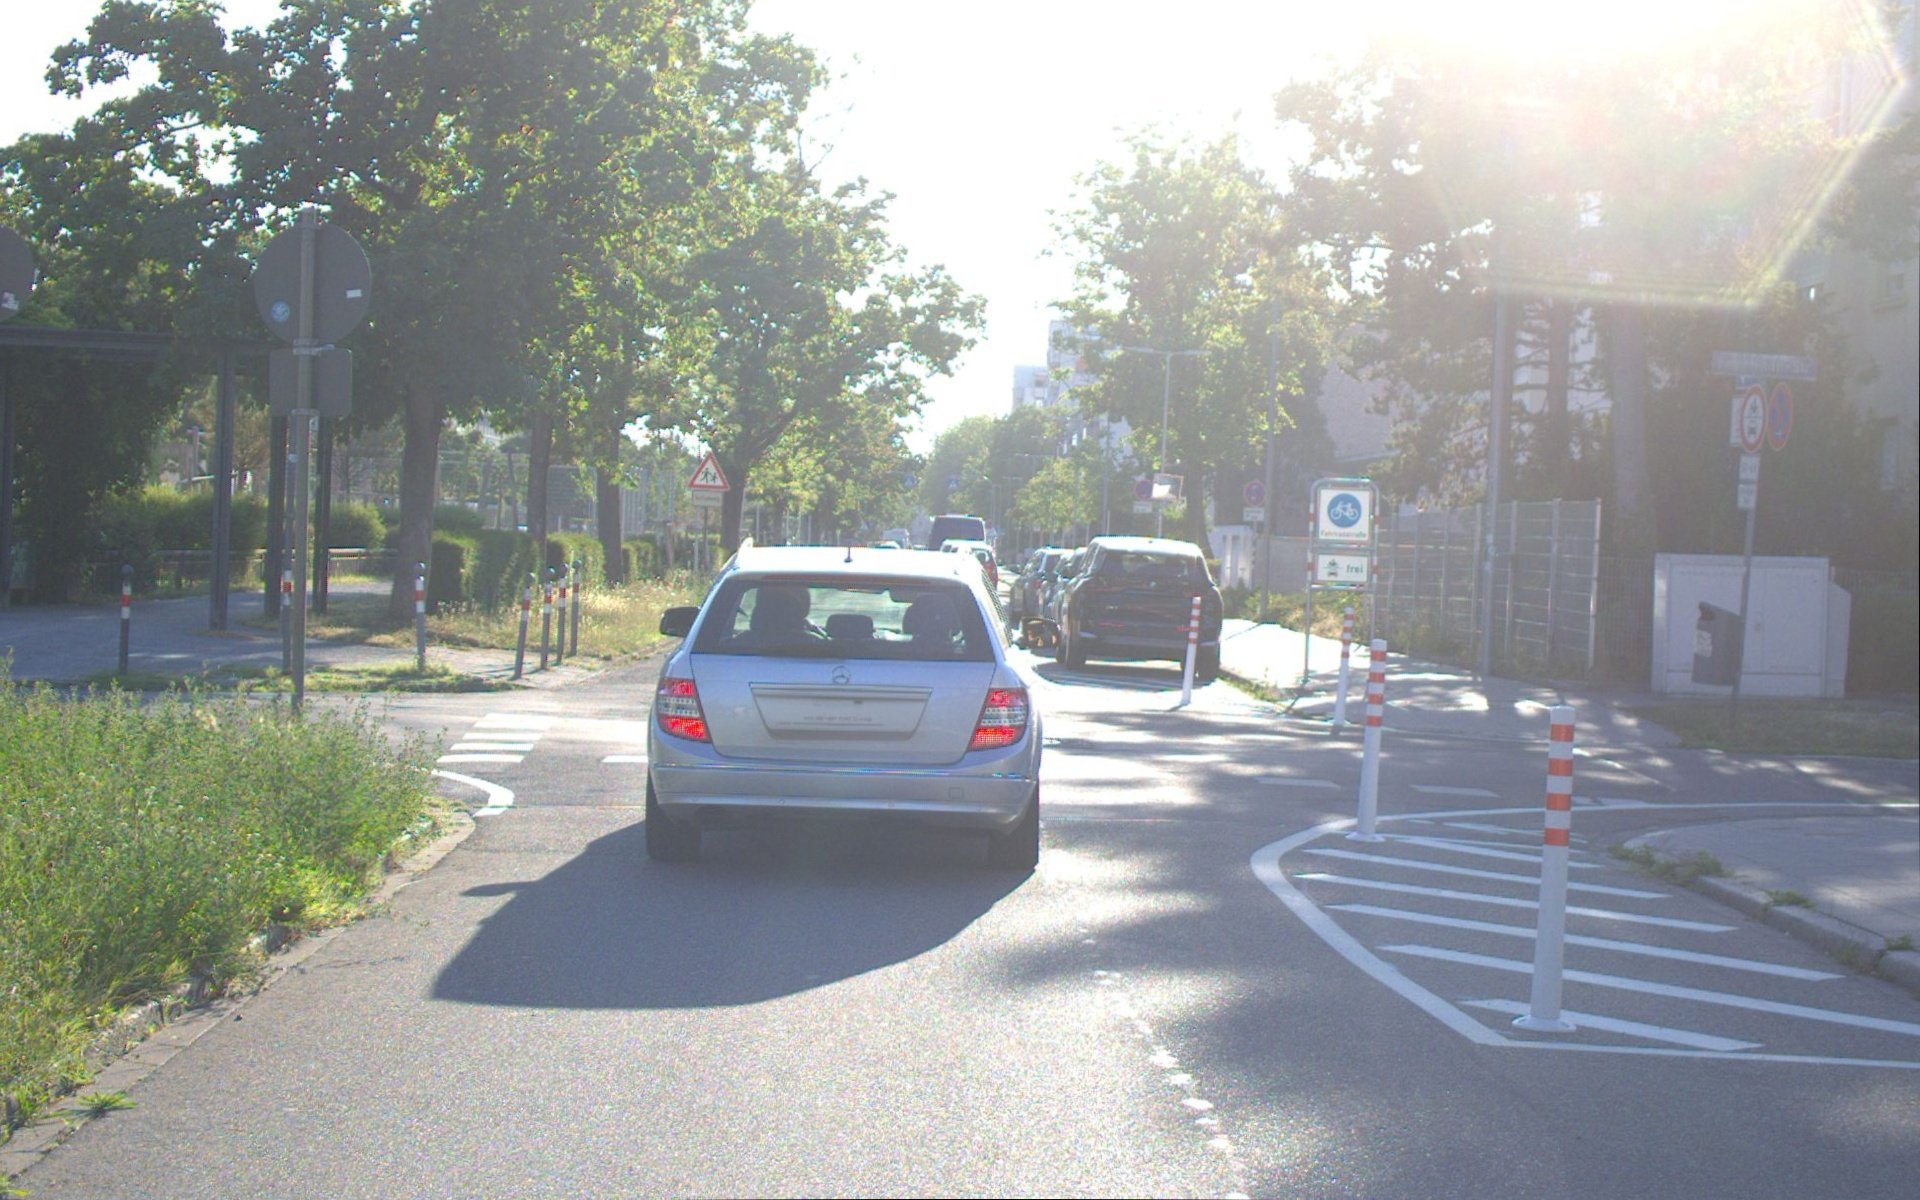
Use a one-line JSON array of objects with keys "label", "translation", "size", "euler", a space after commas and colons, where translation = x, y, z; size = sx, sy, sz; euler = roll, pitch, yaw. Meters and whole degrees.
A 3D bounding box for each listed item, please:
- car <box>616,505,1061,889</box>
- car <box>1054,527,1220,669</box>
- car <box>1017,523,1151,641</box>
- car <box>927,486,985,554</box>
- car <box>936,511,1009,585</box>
[{"label": "car", "translation": [-0.524, 0.352, 16.339], "size": [1.823, 1.561, 4.000], "euler": [1, 2, 0]}, {"label": "car", "translation": [2.108, -0.034, 41.835], "size": [1.721, 1.591, 4.000], "euler": [2, 0, -1]}, {"label": "car", "translation": [1.790, -0.292, 50.764], "size": [1.721, 1.591, 4.000], "euler": [3, 1, -1]}, {"label": "car", "translation": [-0.143, -2.732, 118.000], "size": [1.861, 2.185, 5.070], "euler": [3, 1, -1]}, {"label": "car", "translation": [0.331, -1.517, 99.915], "size": [1.988, 2.016, 4.000], "euler": [3, 1, -1]}]
